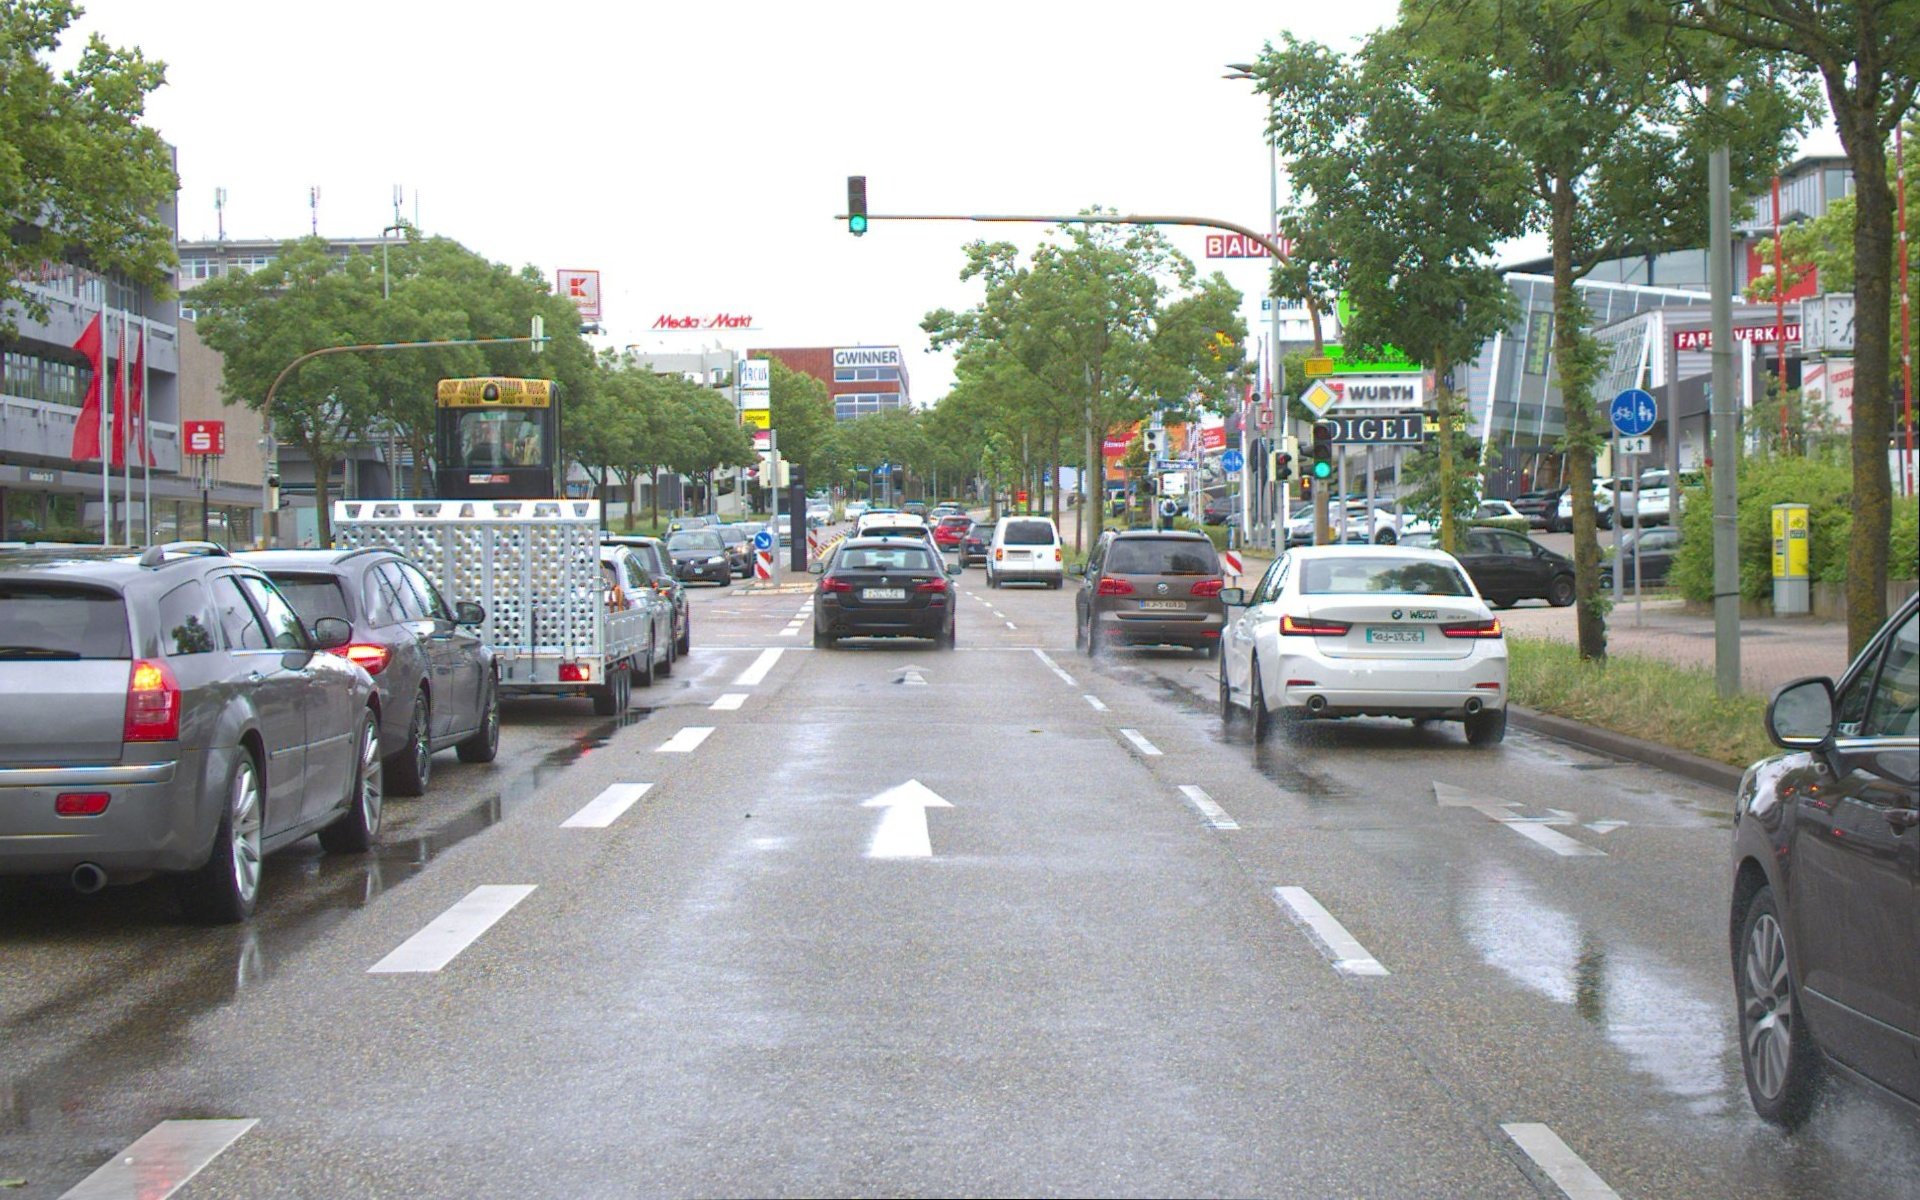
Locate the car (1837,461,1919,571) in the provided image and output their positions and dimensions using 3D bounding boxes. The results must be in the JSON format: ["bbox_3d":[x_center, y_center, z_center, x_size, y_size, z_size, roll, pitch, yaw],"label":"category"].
[{"bbox_3d":[13.993,-1.161,46.197,3.987,1.437,1.655,-1,1,2],"label":"car"}]

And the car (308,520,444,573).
[{"bbox_3d":[-18.478,-1.697,108.746,3.994,1.546,1.896,-1,2,34],"label":"car"}]

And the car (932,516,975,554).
[{"bbox_3d":[-0.269,-2.605,137.968,1.695,1.438,3.989,-1,0,0],"label":"car"}]

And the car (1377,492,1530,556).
[{"bbox_3d":[12.957,-2.009,90.098,1.930,1.571,4.278,0,2,41],"label":"car"}]

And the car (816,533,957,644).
[{"bbox_3d":[-0.977,-0.189,45.535,1.781,1.393,4.000,0,1,-1],"label":"car"}]

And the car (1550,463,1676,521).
[{"bbox_3d":[21.099,-3.487,110.941,4.142,1.765,1.737,-2,2,-40],"label":"car"}]

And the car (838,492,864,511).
[{"bbox_3d":[-8.178,-7.393,258.758,1.943,1.443,4.001,0,1,-2],"label":"car"}]

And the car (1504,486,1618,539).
[{"bbox_3d":[20.582,-2.986,117.626,3.964,1.714,1.633,-2,2,-40],"label":"car"}]

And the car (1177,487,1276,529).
[{"bbox_3d":[11.224,-3.887,144.536,4.111,1.697,1.799,-1,2,5],"label":"car"}]

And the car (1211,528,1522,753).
[{"bbox_3d":[3.002,0.238,26.271,1.801,1.539,4.620,1,1,0],"label":"car"}]

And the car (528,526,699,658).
[{"bbox_3d":[-4.186,-0.133,42.036,1.713,1.484,4.078,-2,1,-1],"label":"car"}]

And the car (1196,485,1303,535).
[{"bbox_3d":[11.533,-3.597,137.266,4.111,1.898,1.800,-2,2,1],"label":"car"}]

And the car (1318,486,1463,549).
[{"bbox_3d":[12.789,-2.461,102.036,4.016,1.657,1.982,-5,3,-40],"label":"car"}]

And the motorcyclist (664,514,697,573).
[{"bbox_3d":[-7.499,-1.532,92.337,0.806,1.553,1.268,-1,2,-2],"label":"motorcyclist"}]

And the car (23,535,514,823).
[{"bbox_3d":[-4.065,0.387,21.021,1.993,1.424,4.554,-3,2,0],"label":"car"}]

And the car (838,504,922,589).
[{"bbox_3d":[-1.943,-1.297,84.466,1.993,2.007,4.000,1,0,-1],"label":"car"}]

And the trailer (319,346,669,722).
[{"bbox_3d":[-3.889,-0.564,29.745,2.372,2.887,5.546,-2,1,-2],"label":"trailer"}]

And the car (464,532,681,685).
[{"bbox_3d":[-3.987,0.034,36.084,1.765,1.453,4.781,-1,1,-1],"label":"car"}]

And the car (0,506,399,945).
[{"bbox_3d":[-3.787,0.425,14.876,1.907,1.573,4.881,-2,1,0],"label":"car"}]

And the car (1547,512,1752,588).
[{"bbox_3d":[14.797,-1.061,73.918,3.979,1.484,1.818,-2,0,0],"label":"car"}]

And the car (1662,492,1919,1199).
[{"bbox_3d":[2.817,0.570,7.192,1.726,1.619,4.471,-1,1,0],"label":"car"}]

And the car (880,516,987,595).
[{"bbox_3d":[-0.525,-0.841,63.162,1.682,1.372,4.001,-1,1,-4],"label":"car"}]

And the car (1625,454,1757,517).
[{"bbox_3d":[21.557,-3.370,101.270,4.143,1.765,1.737,-3,2,-43],"label":"car"}]

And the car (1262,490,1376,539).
[{"bbox_3d":[12.074,-2.869,115.477,3.589,1.530,1.796,-3,2,-40],"label":"car"}]

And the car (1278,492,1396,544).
[{"bbox_3d":[11.827,-2.575,107.779,3.589,1.530,1.643,-2,2,-40],"label":"car"}]

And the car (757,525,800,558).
[{"bbox_3d":[-8.341,-2.717,158.103,1.723,1.393,4.790,-3,1,-1],"label":"car"}]

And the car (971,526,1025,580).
[{"bbox_3d":[1.191,-1.471,108.884,1.685,1.678,3.403,1,0,0],"label":"car"}]

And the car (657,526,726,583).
[{"bbox_3d":[-6.841,-1.170,87.737,1.682,1.372,4.001,-1,1,-4],"label":"car"}]

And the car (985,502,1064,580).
[{"bbox_3d":[1.583,-1.485,85.954,1.782,1.860,4.000,-2,1,-1],"label":"car"}]

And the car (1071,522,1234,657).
[{"bbox_3d":[2.402,-0.177,43.840,1.801,1.581,4.451,1,1,0],"label":"car"}]
